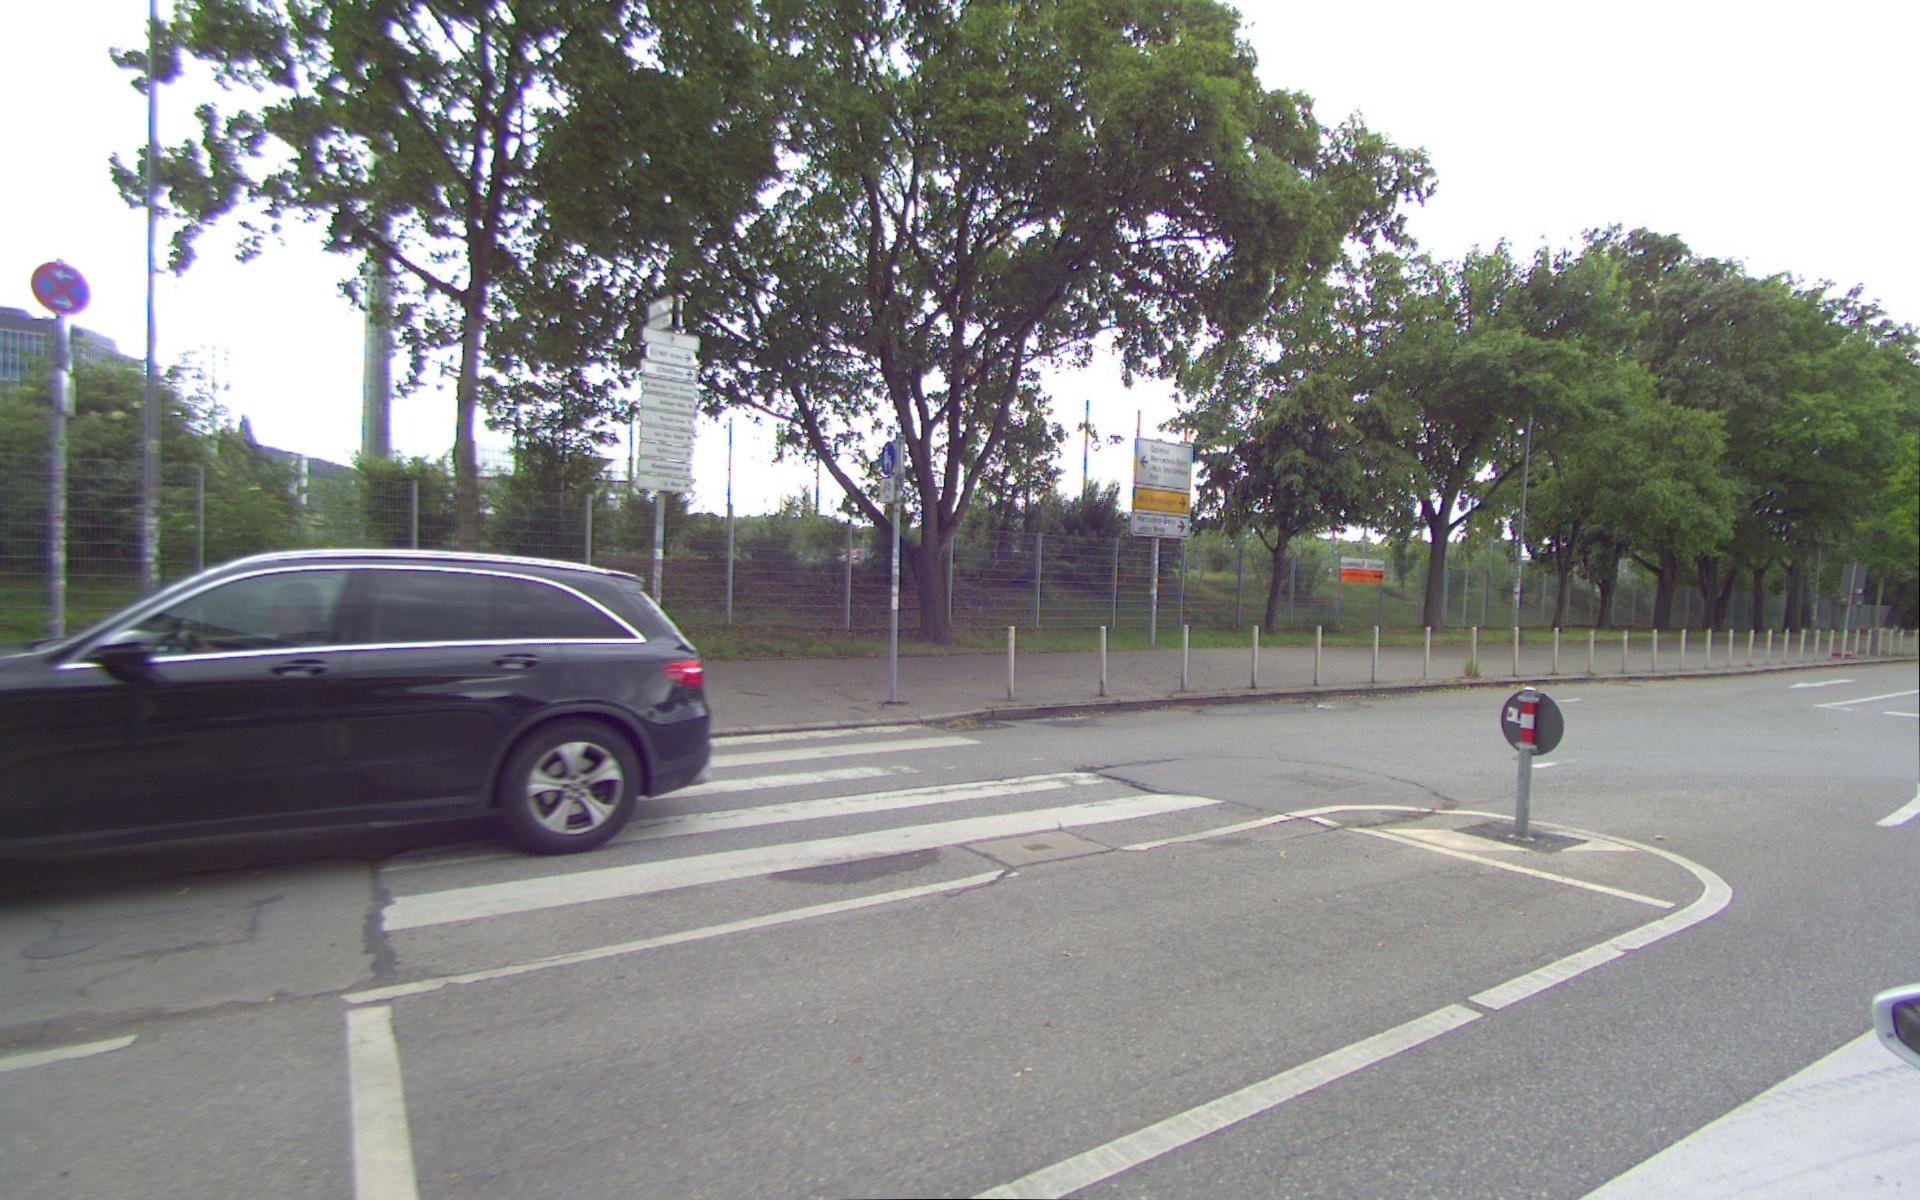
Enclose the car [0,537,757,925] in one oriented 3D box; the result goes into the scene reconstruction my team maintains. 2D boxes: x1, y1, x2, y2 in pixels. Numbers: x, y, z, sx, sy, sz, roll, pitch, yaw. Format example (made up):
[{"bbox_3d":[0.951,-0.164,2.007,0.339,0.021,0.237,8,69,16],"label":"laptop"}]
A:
[{"bbox_3d":[-3.590,0.529,5.495,4.505,1.595,1.827,1,1,-36],"label":"car"}]
